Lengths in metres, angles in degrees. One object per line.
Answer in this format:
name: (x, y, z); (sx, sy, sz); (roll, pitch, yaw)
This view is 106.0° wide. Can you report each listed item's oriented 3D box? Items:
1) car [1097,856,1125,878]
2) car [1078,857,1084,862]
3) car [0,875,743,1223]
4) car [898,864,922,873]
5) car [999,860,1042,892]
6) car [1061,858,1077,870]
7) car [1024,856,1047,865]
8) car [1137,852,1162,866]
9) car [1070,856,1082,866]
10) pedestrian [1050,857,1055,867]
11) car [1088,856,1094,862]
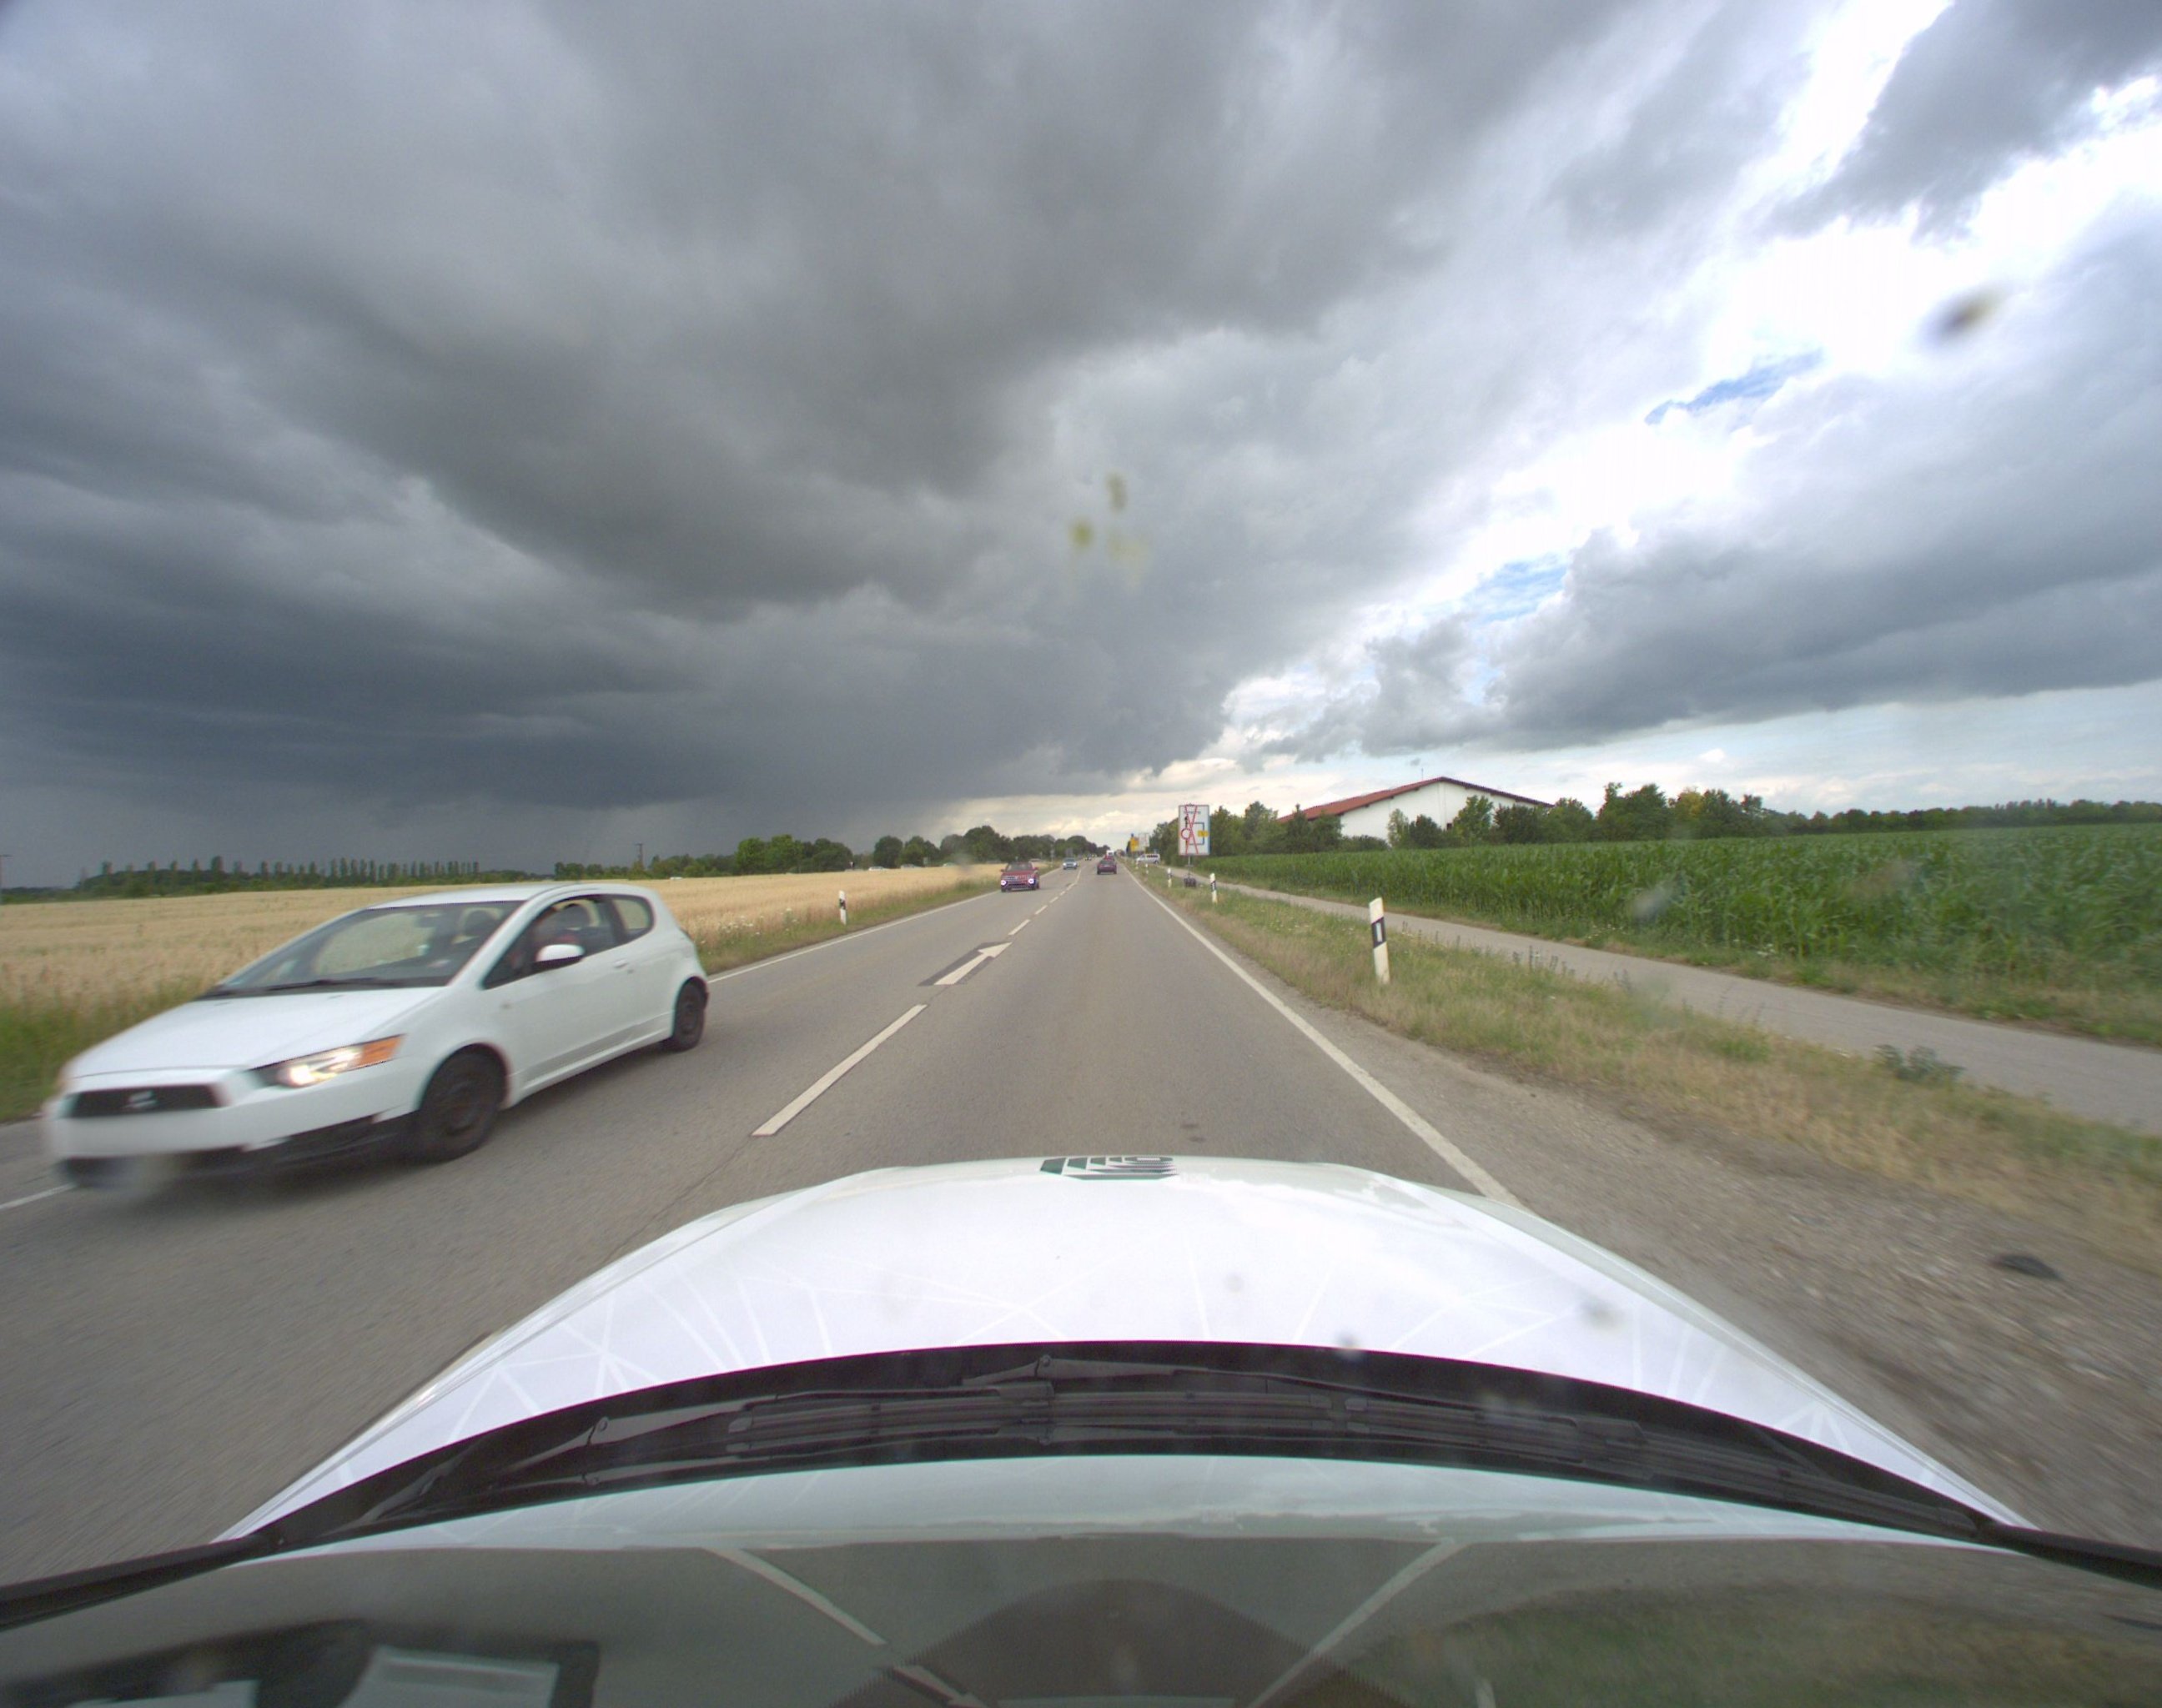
car: (2.805, 1.208, 77.327); (2.365, 1.880, 4.476); (-4, -1, 0)
car: (-0.048, 1.608, 240.254); (1.639, 1.590, 4.002); (-2, -1, 2)
car: (-4.262, 0.957, 5.813); (1.799, 1.456, 4.115); (-2, 0, 2)
car: (-33.707, 2.891, 160.707); (4.051, 1.649, 1.869); (-2, -1, 6)
car: (-3.151, 1.131, 43.192); (1.706, 1.488, 4.610); (-3, 0, 2)
car: (-1.726, 1.454, 118.125); (2.057, 1.580, 4.767); (-4, 0, 2)
car: (-8.937, 1.290, 158.596); (4.403, 1.649, 1.500); (-2, -1, -4)
car: (13.598, 0.983, 161.968); (4.822, 2.452, 2.004); (-2, -1, -1)
car: (-0.886, 1.234, 141.241); (1.760, 1.601, 4.932); (-2, 0, 2)
pedestrian: (-4.965, 1.393, 142.948); (0.363, 1.575, 0.708); (-3, -1, 37)
car: (2.869, 1.400, 233.742); (1.639, 1.590, 4.002); (-2, -1, 2)
